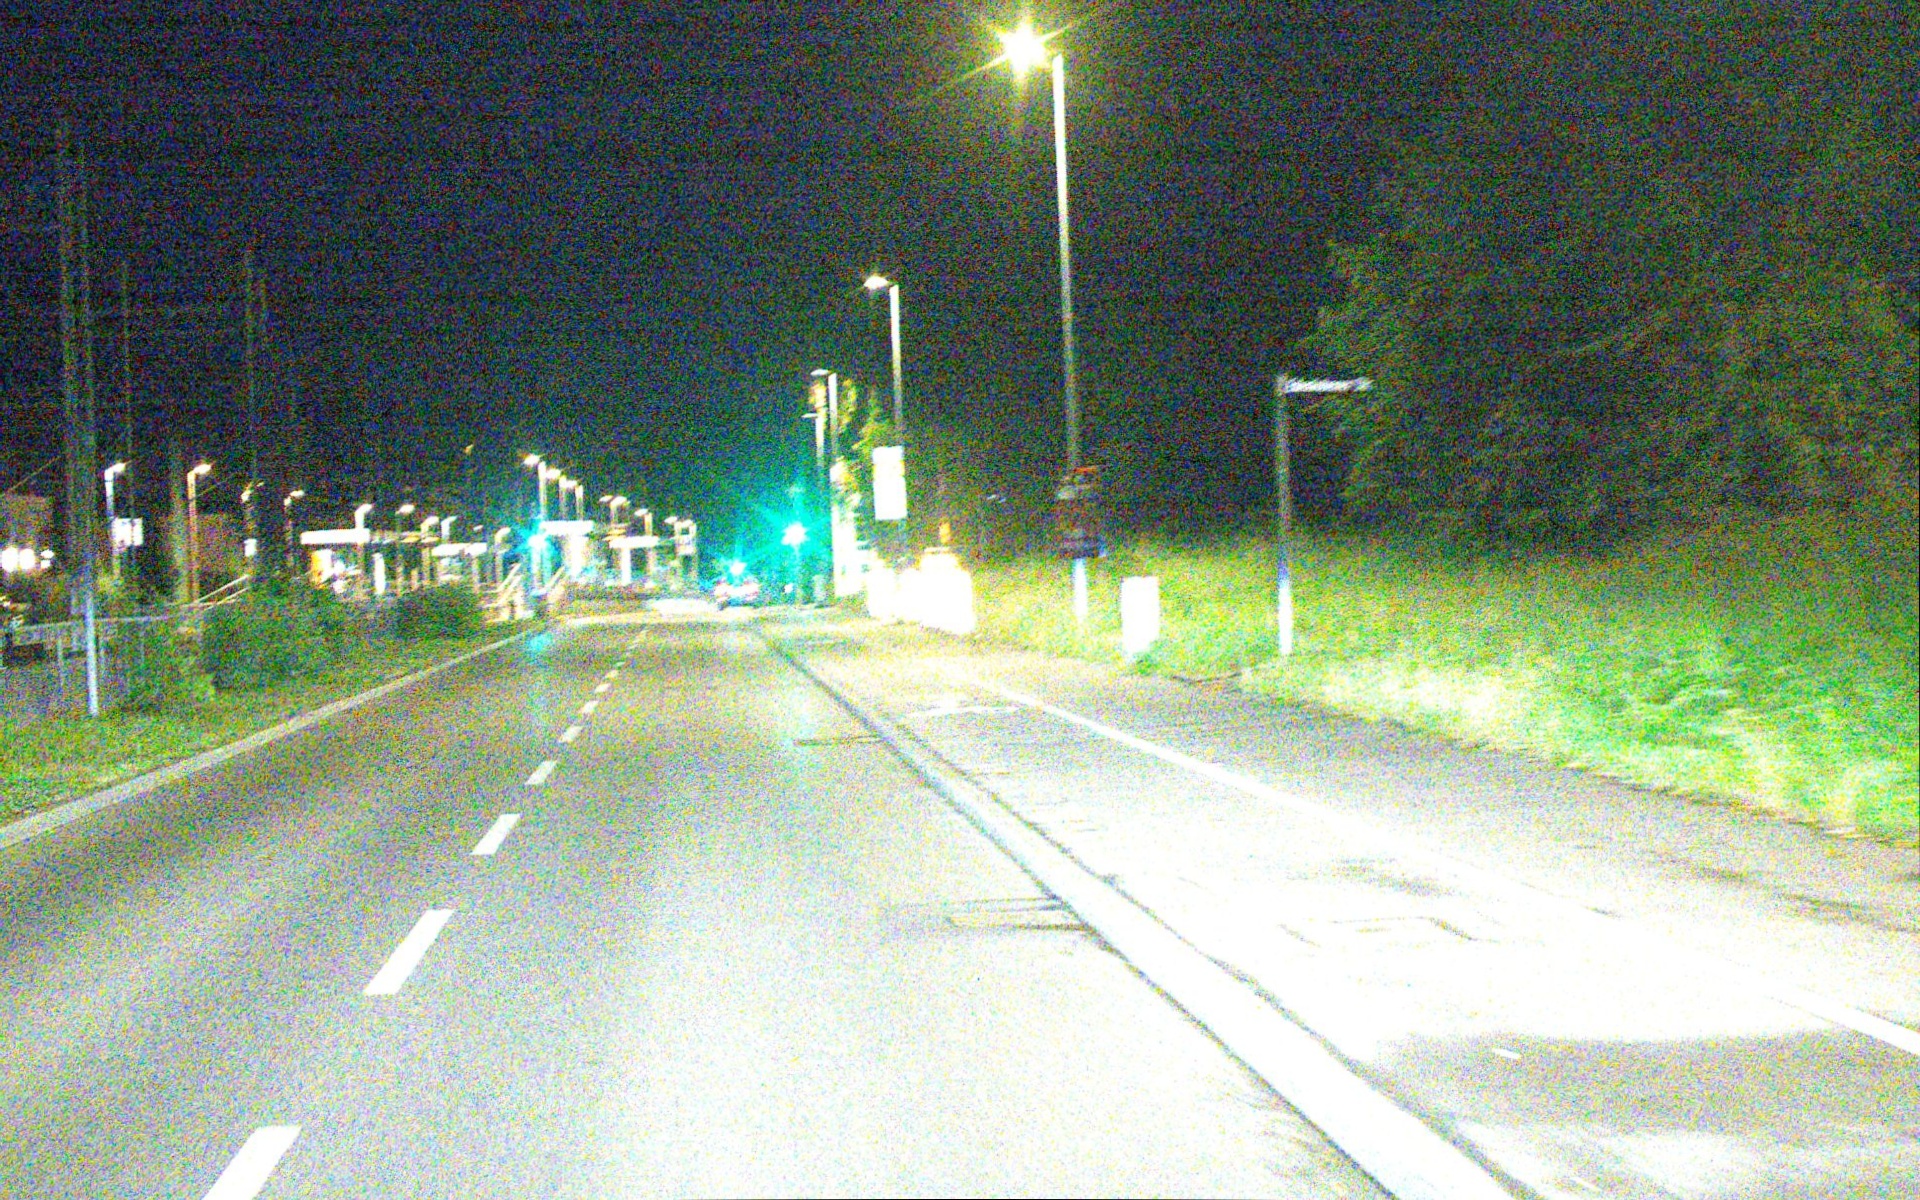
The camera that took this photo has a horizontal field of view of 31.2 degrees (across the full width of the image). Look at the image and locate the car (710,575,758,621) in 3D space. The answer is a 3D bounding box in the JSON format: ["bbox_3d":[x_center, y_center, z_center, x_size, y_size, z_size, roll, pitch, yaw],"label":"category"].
[{"bbox_3d":[-10.510,-0.115,160.217,2.087,2.007,4.001,-3,1,-3],"label":"car"}]
